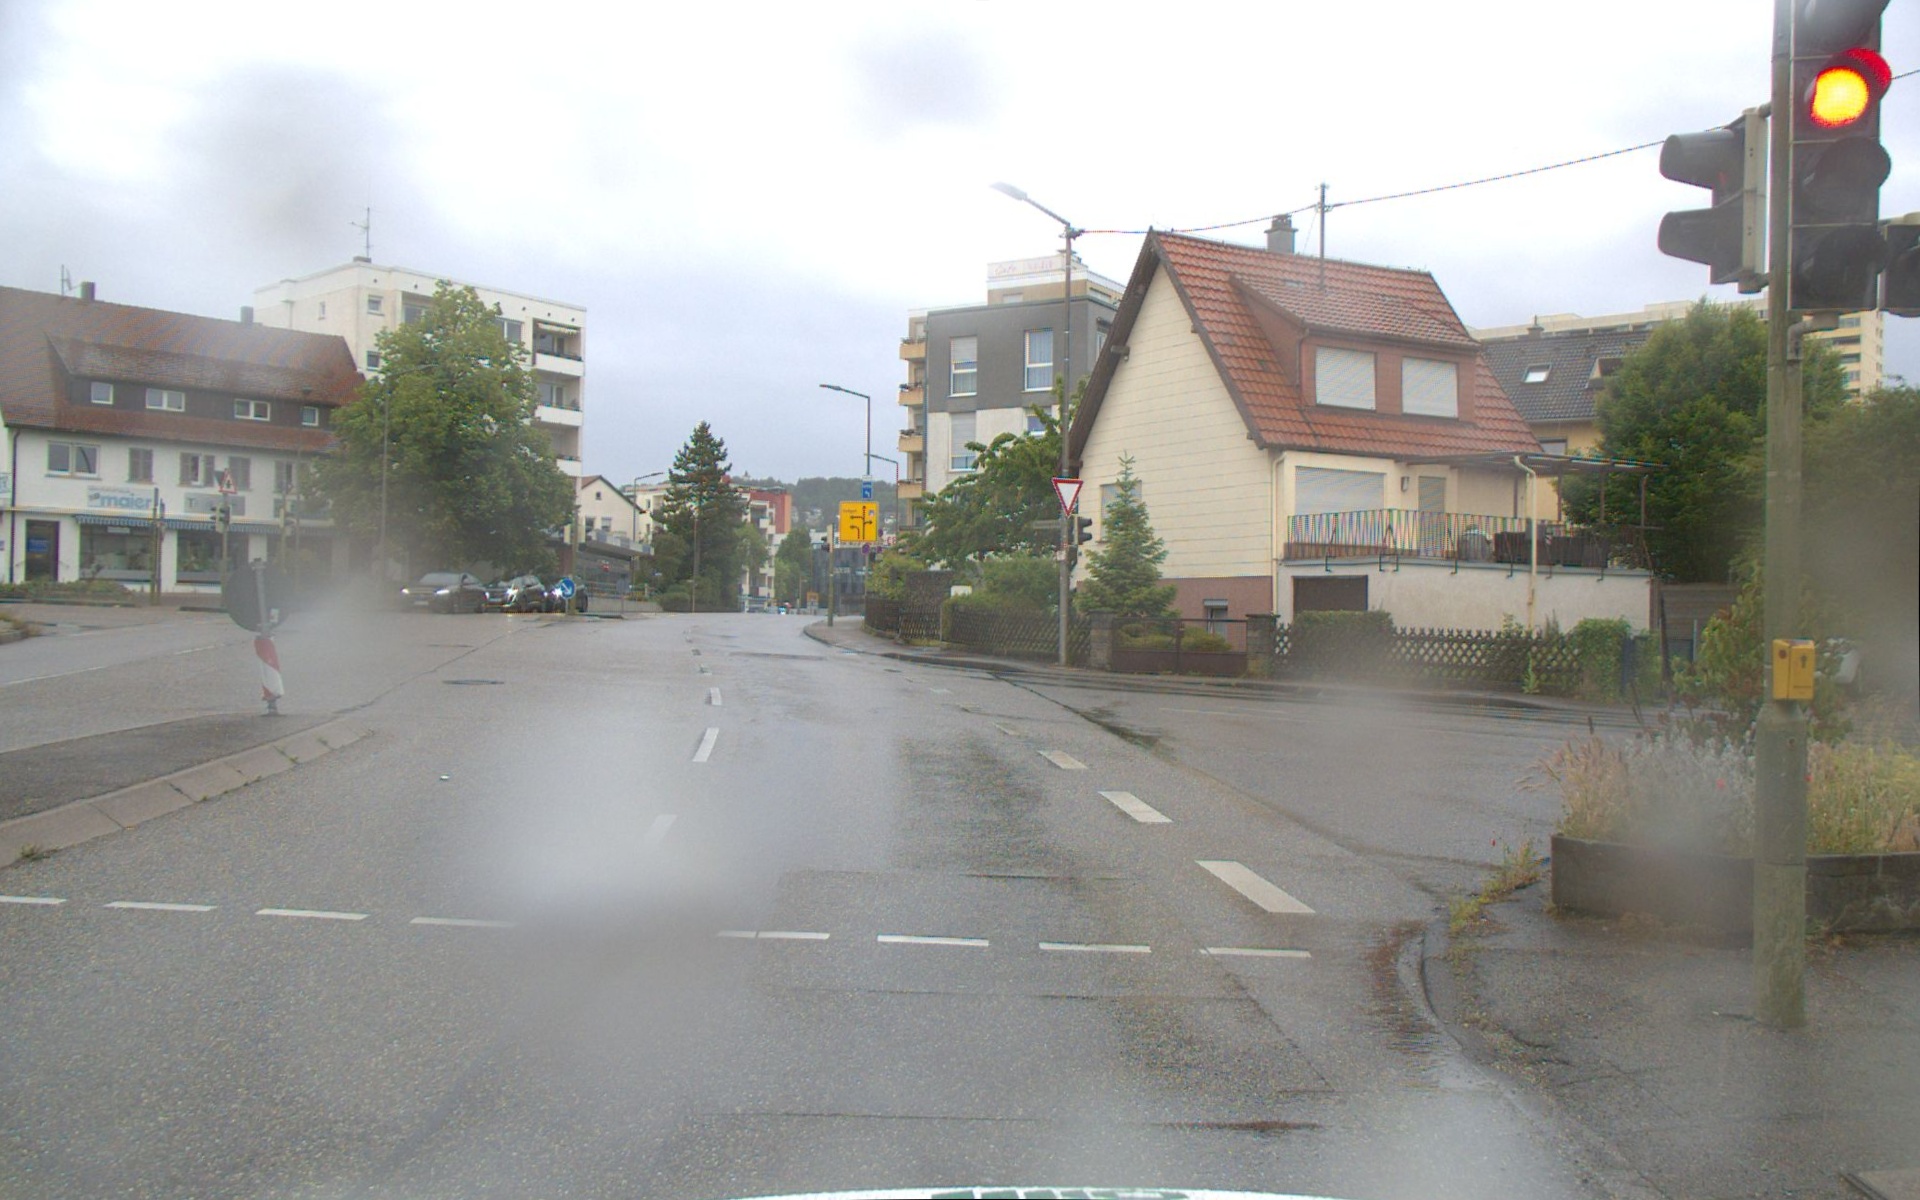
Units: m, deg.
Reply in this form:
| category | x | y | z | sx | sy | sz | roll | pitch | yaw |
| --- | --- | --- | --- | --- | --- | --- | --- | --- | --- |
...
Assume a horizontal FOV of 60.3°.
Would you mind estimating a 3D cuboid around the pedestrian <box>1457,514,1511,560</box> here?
| category | x | y | z | sx | sy | sz | roll | pitch | yaw |
| --- | --- | --- | --- | --- | --- | --- | --- | --- | --- |
| pedestrian | 11.149 | -1.334 | 35.181 | 0.902 | 0.898 | 0.632 | 1 | -2 | -20 |

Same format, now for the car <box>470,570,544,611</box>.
| category | x | y | z | sx | sy | sz | roll | pitch | yaw |
| --- | --- | --- | --- | --- | --- | --- | --- | --- | --- |
| car | -17.891 | -0.371 | 65.492 | 1.927 | 1.538 | 3.998 | 1 | 0 | -2 |

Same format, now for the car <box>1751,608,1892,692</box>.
| category | x | y | z | sx | sy | sz | roll | pitch | yaw |
| --- | --- | --- | --- | --- | --- | --- | --- | --- | --- |
| car | 15.619 | 0.866 | 29.880 | 1.780 | 1.386 | 3.986 | 1 | 0 | 35 |

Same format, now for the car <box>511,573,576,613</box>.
| category | x | y | z | sx | sy | sz | roll | pitch | yaw |
| --- | --- | --- | --- | --- | --- | --- | --- | --- | --- |
| car | -17.843 | -0.290 | 70.993 | 1.841 | 1.625 | 4.182 | 1 | 0 | -2 |

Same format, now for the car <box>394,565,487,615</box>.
| category | x | y | z | sx | sy | sz | roll | pitch | yaw |
| --- | --- | --- | --- | --- | --- | --- | --- | --- | --- |
| car | -18.154 | -0.331 | 58.020 | 1.953 | 1.653 | 4.537 | 1 | 0 | -2 |
